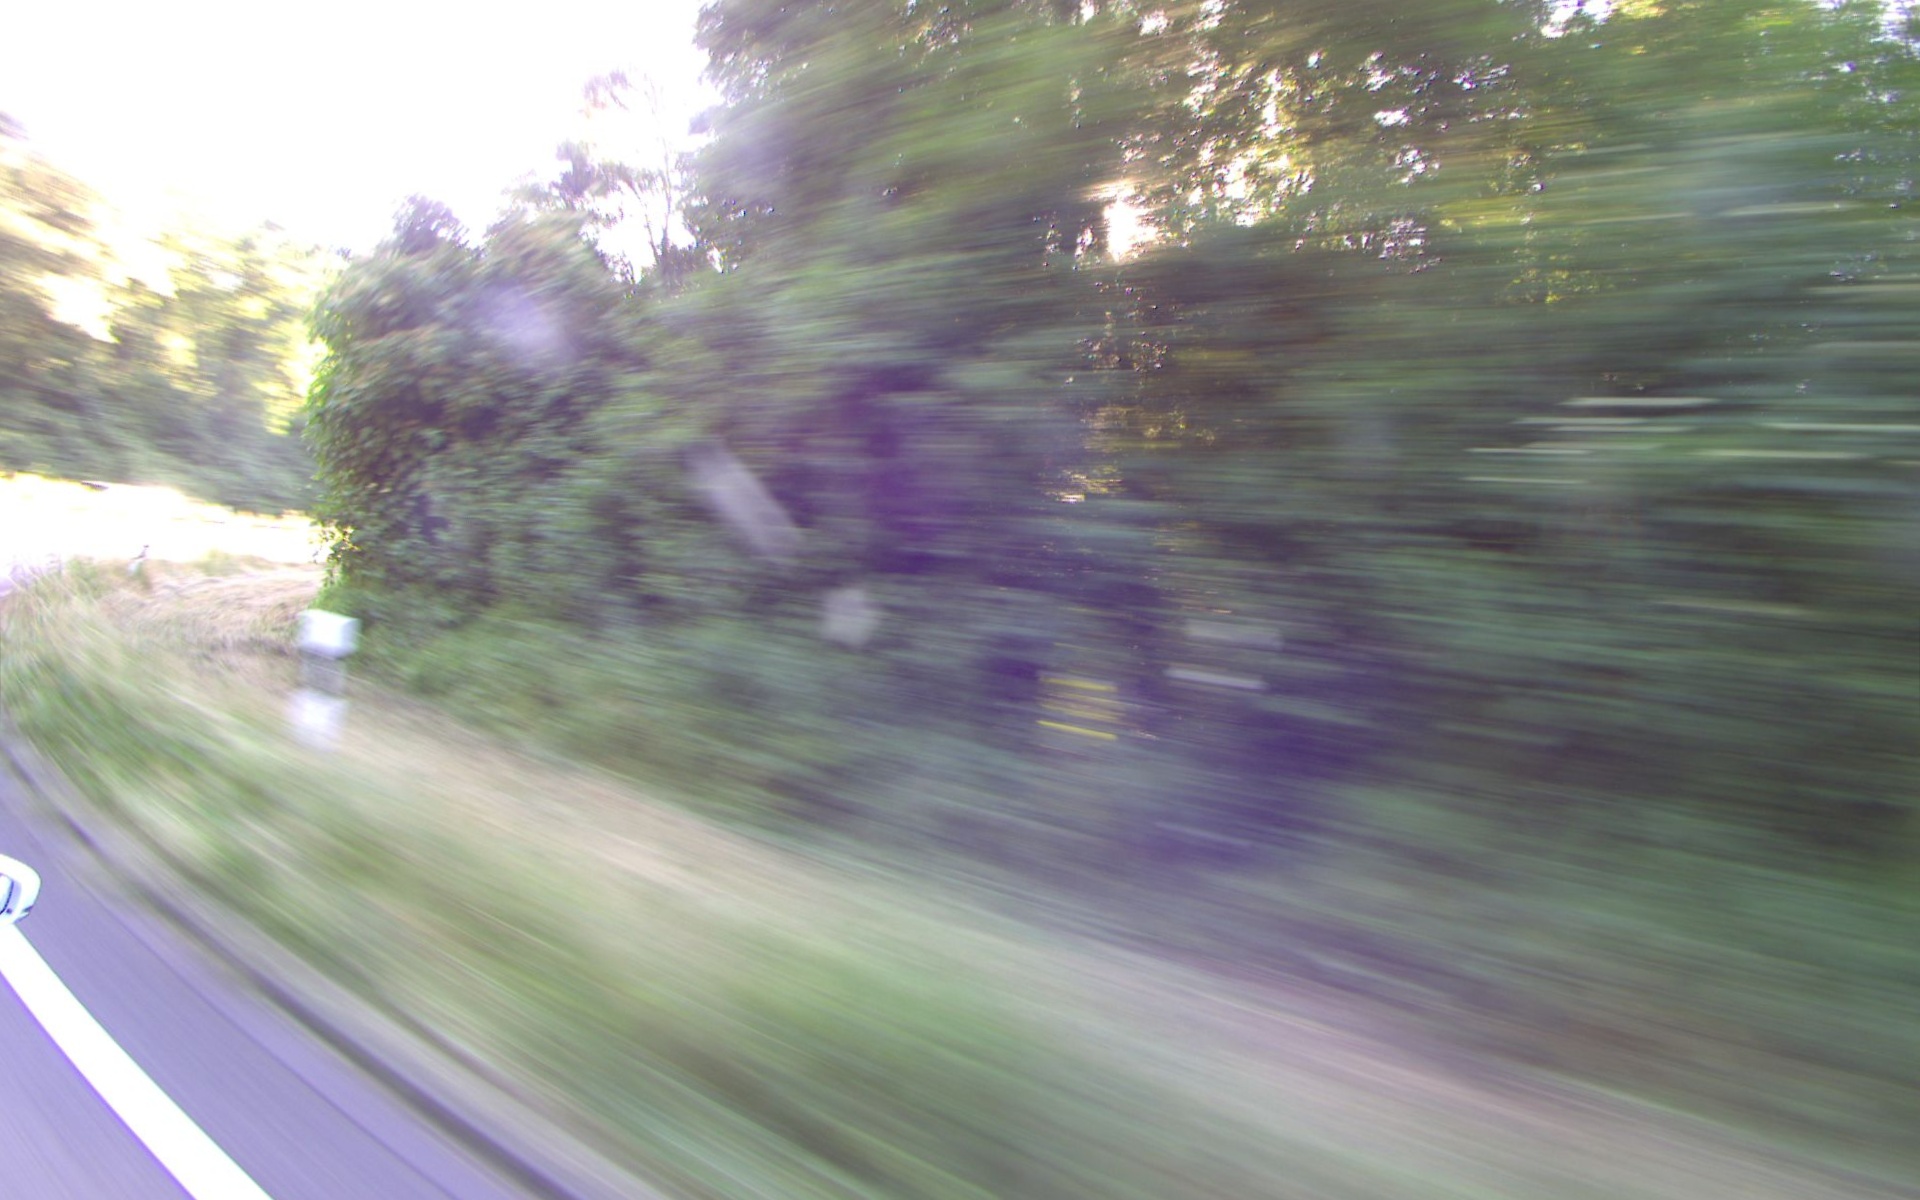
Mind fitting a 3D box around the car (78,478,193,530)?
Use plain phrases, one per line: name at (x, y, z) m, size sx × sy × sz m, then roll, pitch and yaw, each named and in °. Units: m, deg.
car at (-31.709, -3.647, 38.845) m, size 1.699 × 1.506 × 3.989 m, roll 7°, pitch 0°, yaw -12°
